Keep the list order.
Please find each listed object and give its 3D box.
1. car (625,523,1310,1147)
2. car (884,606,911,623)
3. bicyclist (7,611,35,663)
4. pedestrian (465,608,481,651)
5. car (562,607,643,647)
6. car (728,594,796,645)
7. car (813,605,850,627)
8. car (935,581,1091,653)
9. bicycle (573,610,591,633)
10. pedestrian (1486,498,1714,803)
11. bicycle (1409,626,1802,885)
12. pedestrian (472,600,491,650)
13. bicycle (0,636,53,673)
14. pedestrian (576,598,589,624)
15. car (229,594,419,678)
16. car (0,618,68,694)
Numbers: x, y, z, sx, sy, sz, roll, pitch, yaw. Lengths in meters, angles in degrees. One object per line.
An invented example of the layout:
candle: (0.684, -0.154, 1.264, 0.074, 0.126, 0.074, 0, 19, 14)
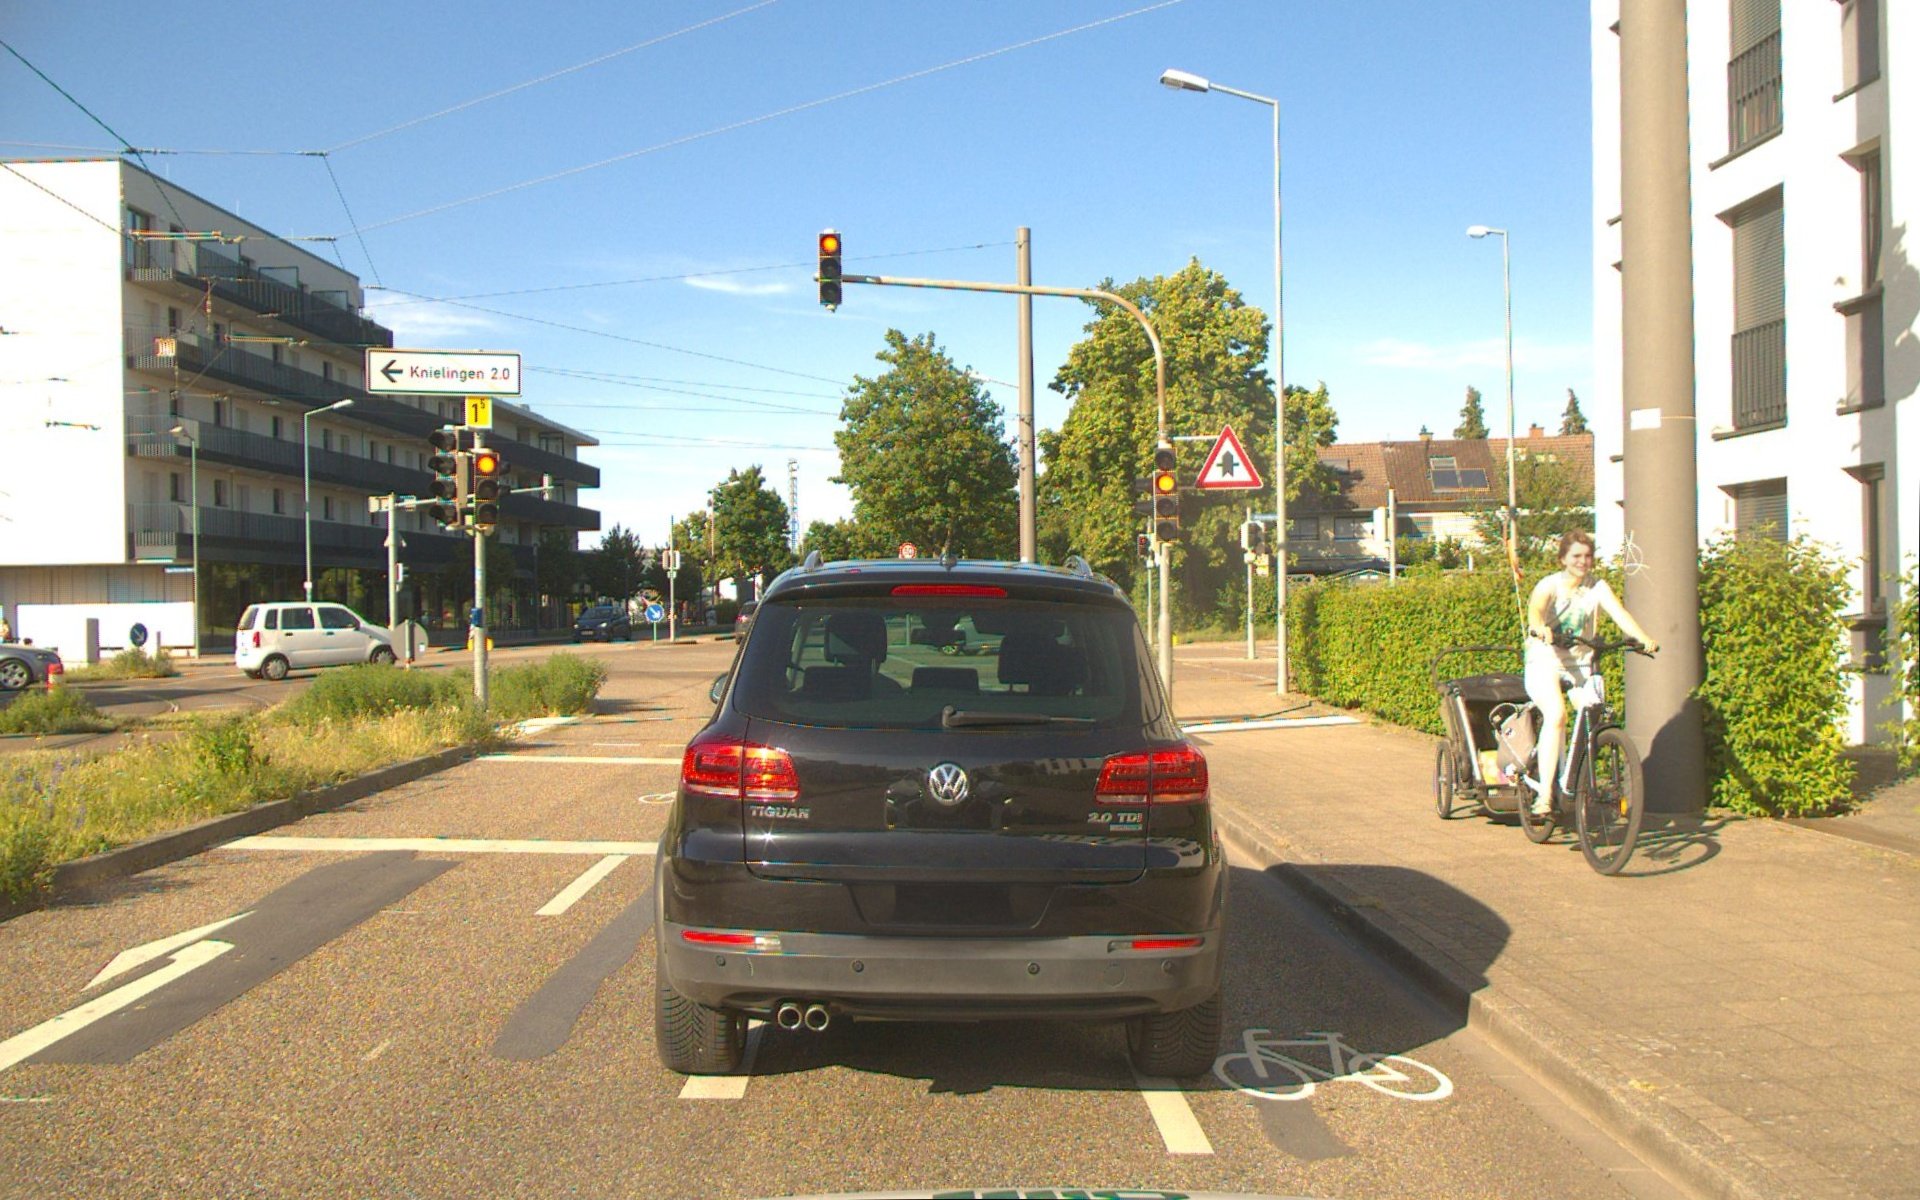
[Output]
car: (-0.002, 0.647, 6.482, 1.831, 1.666, 3.999, 1, 0, -1)
car: (-6.085, 1.396, 161.668, 1.951, 1.601, 4.342, 1, 0, 7)
bicyclist: (-29.963, 1.186, 52.762, 0.629, 1.642, 0.780, 1, -1, -21)
pedestrian: (-17.230, 1.035, 58.488, 0.433, 1.529, 0.517, 1, -1, -6)
car: (-15.338, 1.145, 71.240, 1.951, 1.601, 4.343, 1, 0, 9)
car: (-6.886, 0.664, 57.883, 1.953, 1.713, 3.999, 1, 0, -2)
car: (-9.650, 1.206, 124.134, 1.951, 1.601, 4.342, 1, 0, 7)
car: (1.482, 0.462, 45.521, 3.902, 1.869, 2.001, 1, 0, 15)
bicycle: (-23.122, 1.314, 101.162, 0.617, 1.355, 1.912, 1, 0, 0)
pedestrian: (3.585, 0.270, 9.337, 0.892, 1.622, 0.854, -1, 0, -3)
bicycle: (3.577, 0.779, 9.635, 0.910, 1.194, 3.123, -1, 0, -3)
pedestrian: (-17.138, 0.887, 59.266, 0.532, 1.774, 0.517, 1, -1, -6)
bicycle: (-30.038, 1.727, 52.770, 1.829, 1.144, 0.817, 1, 0, -22)
pedestrian: (-23.102, 0.677, 101.173, 0.629, 1.535, 0.596, 1, -1, -1)
car: (-14.281, 0.762, 37.168, 3.647, 1.750, 1.845, -1, 0, -37)
car: (-20.505, 1.160, 33.610, 4.046, 1.511, 1.854, -1, 0, -26)
